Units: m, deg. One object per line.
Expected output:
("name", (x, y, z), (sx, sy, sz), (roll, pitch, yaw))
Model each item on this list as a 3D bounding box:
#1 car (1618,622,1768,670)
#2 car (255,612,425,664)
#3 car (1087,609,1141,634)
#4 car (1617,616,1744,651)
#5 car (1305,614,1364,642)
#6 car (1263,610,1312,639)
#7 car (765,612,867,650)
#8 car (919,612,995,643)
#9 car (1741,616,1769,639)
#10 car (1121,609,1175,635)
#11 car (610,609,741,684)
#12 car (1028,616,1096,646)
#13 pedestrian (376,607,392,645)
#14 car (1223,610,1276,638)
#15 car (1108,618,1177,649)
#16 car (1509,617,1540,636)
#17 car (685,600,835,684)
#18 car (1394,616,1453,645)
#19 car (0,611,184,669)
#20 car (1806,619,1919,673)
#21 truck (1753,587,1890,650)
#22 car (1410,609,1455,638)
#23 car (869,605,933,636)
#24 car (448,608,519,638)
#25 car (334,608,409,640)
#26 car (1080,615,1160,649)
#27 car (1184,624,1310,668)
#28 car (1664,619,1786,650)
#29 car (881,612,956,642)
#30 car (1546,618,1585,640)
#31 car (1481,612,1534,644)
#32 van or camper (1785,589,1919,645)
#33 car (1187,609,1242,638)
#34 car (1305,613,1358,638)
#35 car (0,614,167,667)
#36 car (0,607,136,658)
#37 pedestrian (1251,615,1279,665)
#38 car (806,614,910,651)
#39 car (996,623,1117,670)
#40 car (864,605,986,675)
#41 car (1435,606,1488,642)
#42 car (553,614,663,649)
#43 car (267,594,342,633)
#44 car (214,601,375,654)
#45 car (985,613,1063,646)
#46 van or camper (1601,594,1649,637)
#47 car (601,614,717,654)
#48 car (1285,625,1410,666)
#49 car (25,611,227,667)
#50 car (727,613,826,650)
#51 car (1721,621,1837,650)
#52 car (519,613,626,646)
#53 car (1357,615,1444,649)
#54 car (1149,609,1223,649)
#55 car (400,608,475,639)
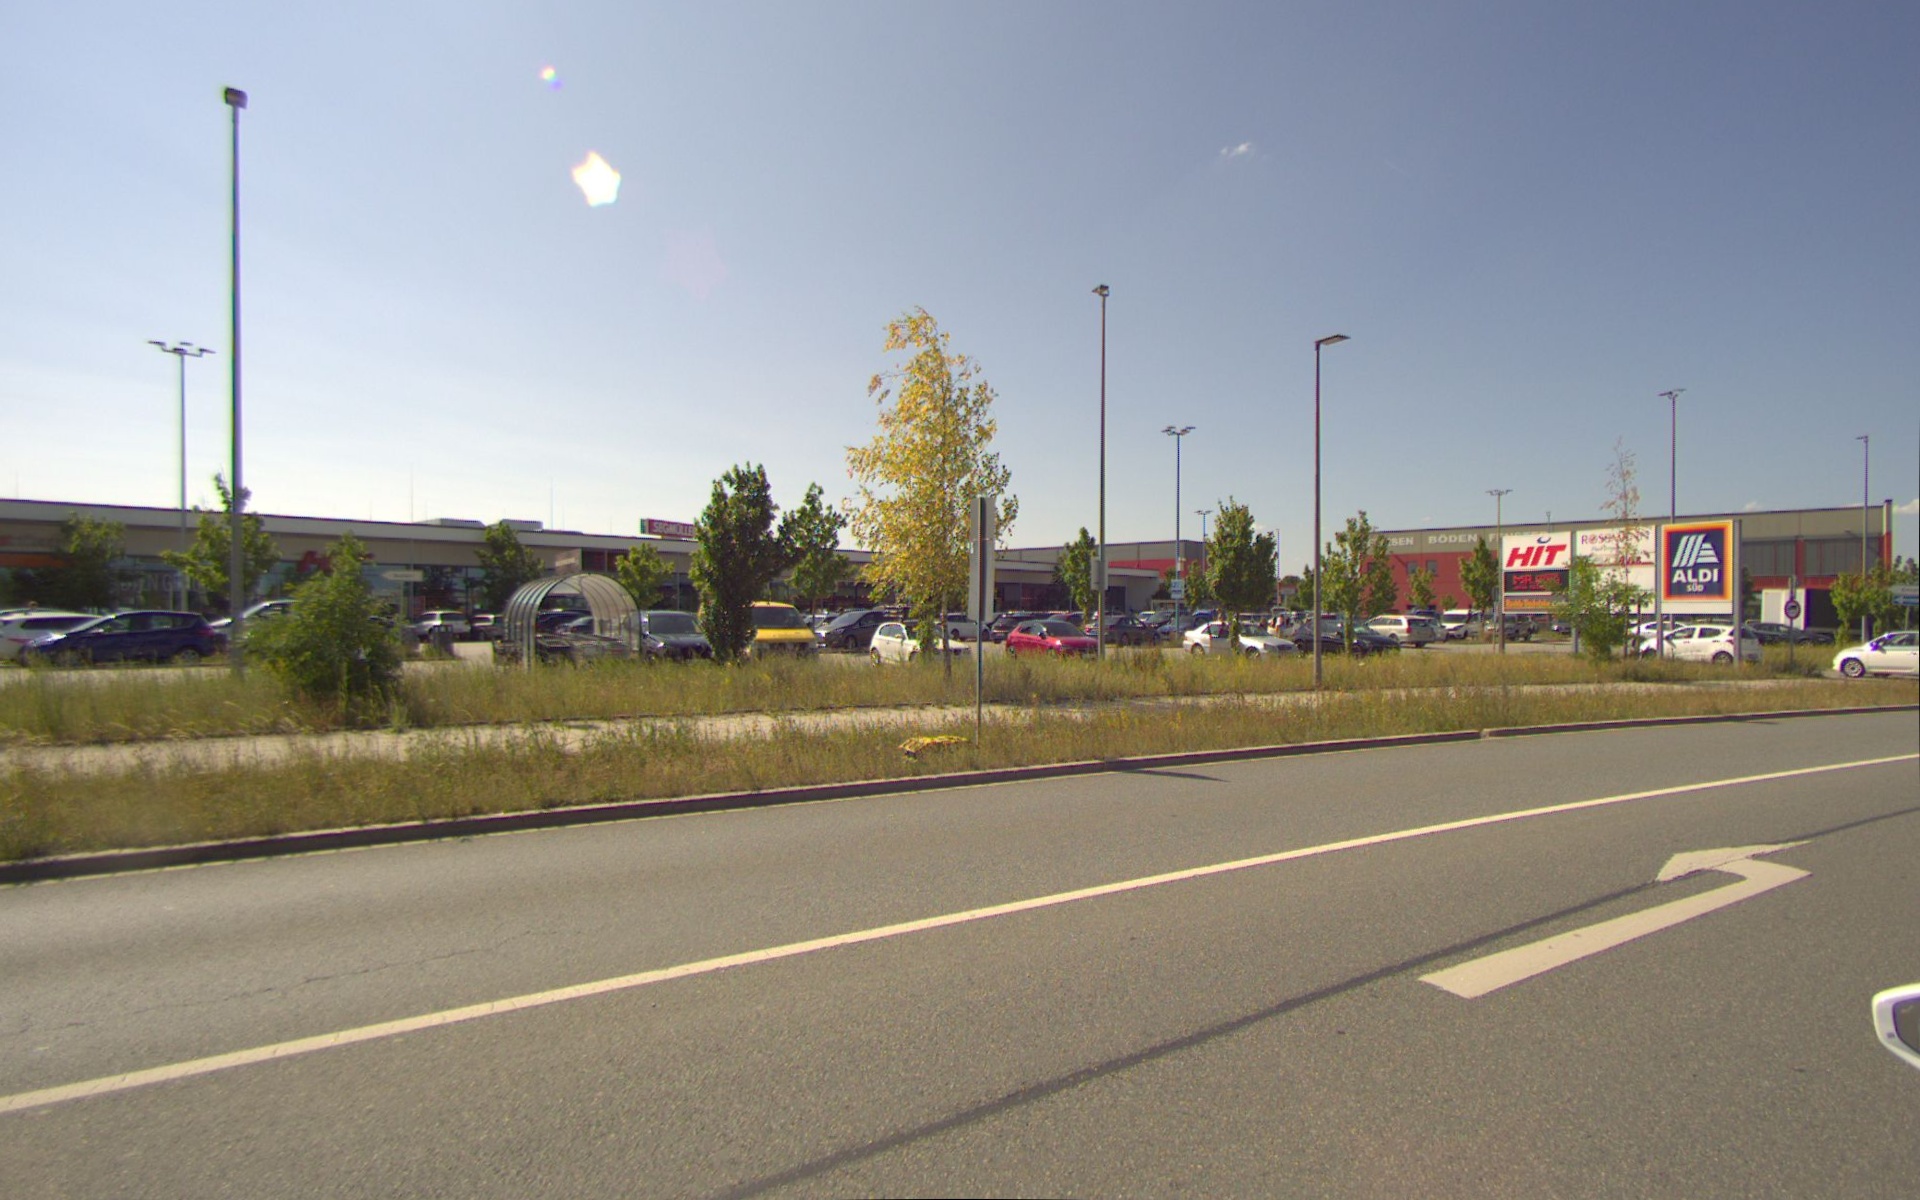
("car", (26.258, 1.613, 36.142), (1.891, 1.568, 3.976), (1, -1, -25))
("car", (-19.734, 1.166, 32.139), (1.691, 1.546, 4.334), (0, -1, 40))
("car", (10.972, 1.527, 71.217), (1.888, 1.740, 4.364), (0, -1, 38))
("car", (34.063, 1.555, 47.597), (1.818, 1.532, 4.579), (1, -1, -33))
("car", (22.800, 1.700, 61.059), (1.890, 1.639, 4.358), (0, -1, 42))
("car", (20.478, 1.529, 62.640), (1.884, 1.740, 4.371), (0, -1, 32))
("car", (-6.205, 1.327, 43.663), (1.692, 1.570, 4.332), (0, -1, 41))
("car", (-0.116, 1.468, 54.345), (1.692, 1.565, 4.332), (0, -1, 41))
("car", (60.732, 2.093, 76.732), (1.641, 1.636, 4.065), (0, -1, 39))
("car", (13.057, 1.540, 69.704), (1.888, 1.748, 4.364), (0, -1, 38))
("car", (-7.266, 1.101, 25.347), (1.862, 1.694, 4.740), (1, -1, -33))
("car", (5.822, 1.729, 56.953), (1.692, 1.596, 4.332), (0, -1, 41))
("pedestrian", (-22.391, 1.016, 39.061), (0.503, 1.484, 0.411), (0, -1, 44))
("car", (18.669, 1.520, 64.596), (1.887, 1.749, 4.366), (0, -1, 37))
("car", (9.778, 1.752, 53.651), (1.692, 1.602, 4.332), (0, -1, 41))
("car", (48.669, 2.268, 86.578), (1.641, 1.636, 4.065), (0, -1, 39))
("car", (-5.462, 1.037, 26.767), (1.979, 1.991, 5.648), (1, -1, -33))
("car", (26.269, 1.718, 56.877), (1.812, 1.532, 4.358), (0, -1, 42))
("car", (-25.233, 1.110, 29.014), (1.693, 1.536, 4.217), (0, -1, 42))
("car", (28.710, 1.378, 30.684), (1.889, 1.568, 3.980), (1, -1, -21))
("truck", (49.968, 1.112, 58.269), (7.369, 3.510, 2.317), (1, -1, -15))
("car", (34.766, 1.741, 73.914), (1.812, 2.021, 4.358), (0, -1, 42))
("car", (-3.892, 1.380, 66.848), (1.692, 1.985, 4.332), (0, -1, 41))
("car", (-25.701, 1.244, 54.123), (4.285, 1.561, 1.711), (0, -1, 37))
("car", (-29.111, 1.160, 49.614), (4.285, 1.539, 1.711), (0, -1, 37))
("car", (7.563, 1.462, 47.176), (1.692, 1.536, 4.332), (0, -1, 41))
("car", (9.843, 1.547, 34.743), (1.912, 1.366, 4.128), (1, -1, -27))
("car", (38.288, 1.703, 50.403), (1.818, 1.478, 4.549), (1, -1, -33))
("car", (-2.286, 1.477, 56.260), (1.692, 1.637, 4.332), (0, -1, 41))
("car", (44.137, 2.092, 73.130), (1.810, 1.583, 4.361), (0, -1, 40))
("car", (32.525, 1.649, 59.641), (1.812, 1.848, 4.358), (0, -1, 42))
("van or camper", (59.831, 1.122, 66.640), (2.537, 3.514, 7.620), (1, -1, -43))
("car", (16.773, 1.564, 66.040), (1.888, 1.817, 4.364), (0, -1, 38))
("car", (25.006, 1.739, 67.565), (1.812, 1.603, 4.358), (0, -1, 42))
("car", (-27.253, 1.195, 30.941), (1.693, 1.536, 4.217), (0, -1, 42))
("car", (-29.828, 1.044, 32.775), (1.693, 1.608, 4.331), (0, -1, 42))
("pedestrian", (10.823, 1.408, 35.644), (0.571, 1.717, 0.762), (1, -1, -27))
("car", (-4.197, 1.325, 41.822), (1.692, 1.436, 4.332), (0, -1, 41))
("car", (2.975, 1.413, 31.792), (1.912, 1.366, 4.128), (1, -1, -27))
("car", (-1.107, 1.118, 29.283), (1.909, 1.886, 4.125), (1, -1, -29))
("car", (30.636, 1.464, 61.317), (1.812, 2.092, 4.358), (0, -1, 42))
("car", (-15.585, 1.360, 44.588), (1.693, 1.497, 4.329), (-1, -1, 43))
("car", (-31.828, 0.667, 48.713), (4.285, 1.831, 1.711), (0, -1, 37))
("car", (-23.601, 0.964, 35.741), (1.694, 1.764, 4.556), (0, -1, 44))
("car", (3.251, 1.444, 50.379), (1.692, 1.581, 4.332), (0, -1, 41))
("van or camper", (54.399, 1.294, 82.076), (2.402, 3.314, 7.199), (0, -1, 41))
("car", (-12.259, 1.348, 41.124), (1.693, 1.546, 4.329), (-1, -1, 43))
("car", (14.277, 1.639, 37.197), (1.912, 1.366, 4.128), (1, -1, -27))
("car", (-22.996, 1.037, 27.825), (1.693, 1.444, 4.119), (0, -1, 42))
("car", (-8.319, 1.409, 45.765), (1.692, 1.592, 4.332), (0, -1, 41))
("car", (43.018, 1.836, 52.849), (1.954, 1.402, 4.398), (1, -1, -33))
("car", (-17.903, 1.333, 46.511), (1.693, 1.436, 4.329), (-1, -1, 43))
("car", (21.289, 1.517, 48.726), (1.809, 1.568, 3.988), (1, -1, -14))
("car", (11.735, 1.473, 52.011), (1.692, 2.012, 4.810), (0, -1, 41))
("car", (-27.234, 1.210, 52.288), (4.285, 1.545, 1.827), (0, -1, 37))
